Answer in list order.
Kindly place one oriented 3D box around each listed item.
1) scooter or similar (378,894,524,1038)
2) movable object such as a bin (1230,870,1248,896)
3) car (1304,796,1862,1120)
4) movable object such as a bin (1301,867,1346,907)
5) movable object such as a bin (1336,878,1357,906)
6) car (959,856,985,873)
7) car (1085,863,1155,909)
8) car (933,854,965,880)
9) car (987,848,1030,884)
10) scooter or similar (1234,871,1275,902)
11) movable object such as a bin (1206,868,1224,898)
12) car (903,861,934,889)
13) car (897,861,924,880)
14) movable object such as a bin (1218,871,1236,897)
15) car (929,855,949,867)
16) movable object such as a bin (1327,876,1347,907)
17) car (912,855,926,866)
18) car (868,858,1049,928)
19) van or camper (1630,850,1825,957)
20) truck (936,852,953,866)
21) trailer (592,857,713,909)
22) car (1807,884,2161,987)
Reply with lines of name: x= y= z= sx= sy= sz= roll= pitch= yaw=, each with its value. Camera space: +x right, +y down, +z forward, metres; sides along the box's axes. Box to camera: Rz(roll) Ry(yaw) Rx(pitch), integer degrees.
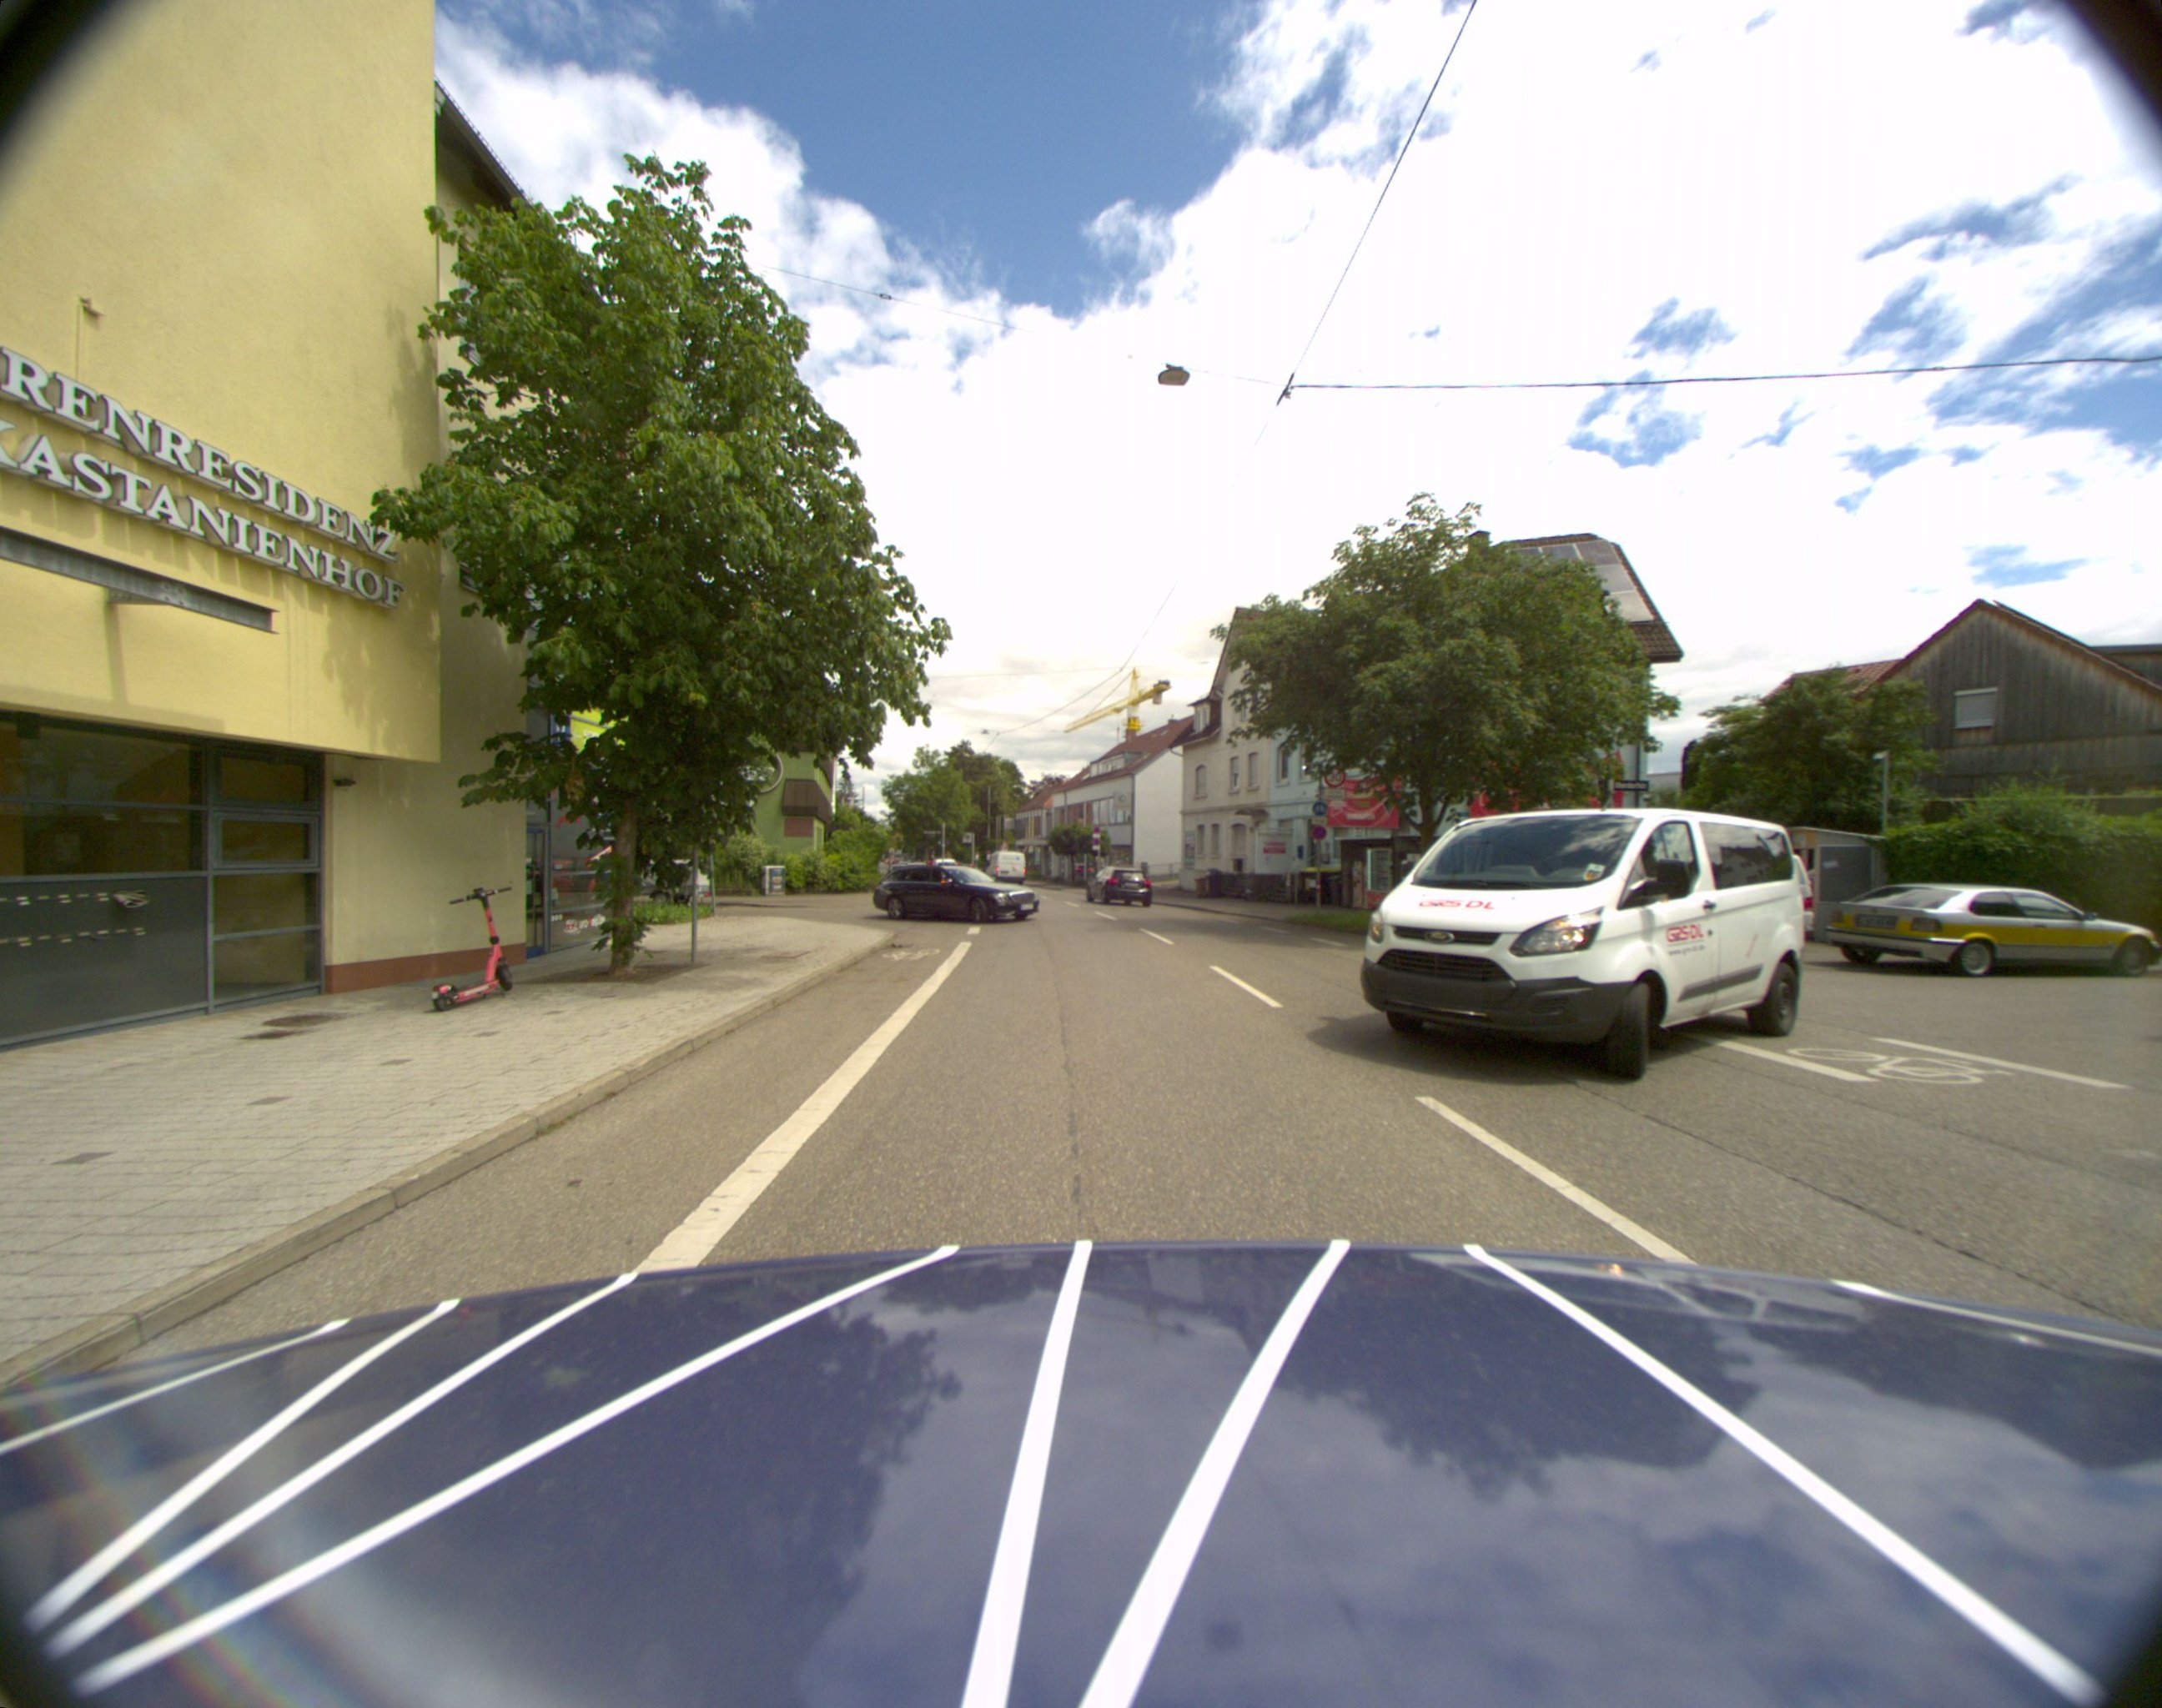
scooter or similar: x=-6.687 y=1.134 z=8.154 sx=0.382 sy=1.309 sz=1.458 roll=-1 pitch=1 yaw=-3
movable object such as a bin: x=7.069 y=1.299 z=34.012 sx=0.567 sy=1.095 sz=0.562 roll=-2 pitch=2 yaw=-21
car: x=4.710 y=0.732 z=6.887 sx=5.239 sy=1.981 sz=2.103 roll=3 pitch=-1 yaw=-31
movable object such as a bin: x=8.786 y=1.172 z=27.523 sx=1.024 sy=1.347 sz=1.245 roll=-1 pitch=1 yaw=-18
movable object such as a bin: x=9.111 y=1.295 z=26.060 sx=0.448 sy=0.927 sz=0.517 roll=-1 pitch=2 yaw=-18
car: x=-10.093 y=0.957 z=70.270 sx=1.777 sy=1.417 sz=4.103 roll=2 pitch=0 yaw=-16
car: x=1.397 y=1.153 z=29.041 sx=1.693 sy=1.473 sz=4.222 roll=4 pitch=0 yaw=-10
car: x=-10.205 y=0.988 z=58.515 sx=1.968 sy=1.796 sz=4.422 roll=-1 pitch=1 yaw=-16
car: x=-5.240 y=0.853 z=54.367 sx=2.071 sy=2.339 sz=5.175 roll=3 pitch=-1 yaw=-16
scooter or similar: x=7.005 y=1.289 z=30.659 sx=1.559 sy=1.177 sz=0.545 roll=-1 pitch=2 yaw=-16
movable object such as a bin: x=5.906 y=1.278 z=33.540 sx=0.567 sy=1.266 sz=0.562 roll=-2 pitch=1 yaw=-21
car: x=-10.217 y=1.311 z=47.458 sx=1.696 sy=1.656 sz=4.457 roll=1 pitch=-1 yaw=-15
car: x=-14.719 y=1.384 z=65.486 sx=1.992 sy=1.440 sz=4.744 roll=1 pitch=0 yaw=-16
movable object such as a bin: x=6.503 y=1.321 z=33.798 sx=0.567 sy=1.095 sz=0.562 roll=-2 pitch=2 yaw=-21
car: x=-18.760 y=0.920 z=100.070 sx=1.839 sy=1.514 sz=4.162 roll=1 pitch=1 yaw=-21
movable object such as a bin: x=8.949 y=1.304 z=26.578 sx=0.434 sy=1.034 sz=0.517 roll=-1 pitch=2 yaw=-18
car: x=-26.100 y=1.073 z=122.283 sx=1.873 sy=1.608 sz=4.528 roll=1 pitch=-1 yaw=-17
car: x=-3.334 y=0.994 z=20.301 sx=4.674 sy=1.619 sz=1.813 roll=-1 pitch=2 yaw=32
van or camper: x=14.001 y=0.937 z=16.811 sx=1.786 sy=1.982 sz=4.385 roll=1 pitch=1 yaw=19
truck: x=-23.871 y=0.816 z=132.393 sx=2.315 sy=2.406 sz=6.084 roll=-1 pitch=1 yaw=-15
trailer: x=-14.191 y=0.959 z=25.251 sx=3.168 sy=1.572 sz=1.393 roll=2 pitch=0 yaw=-3
car: x=14.575 y=1.250 z=12.309 sx=4.028 sy=1.405 sz=1.814 roll=0 pitch=1 yaw=-4
